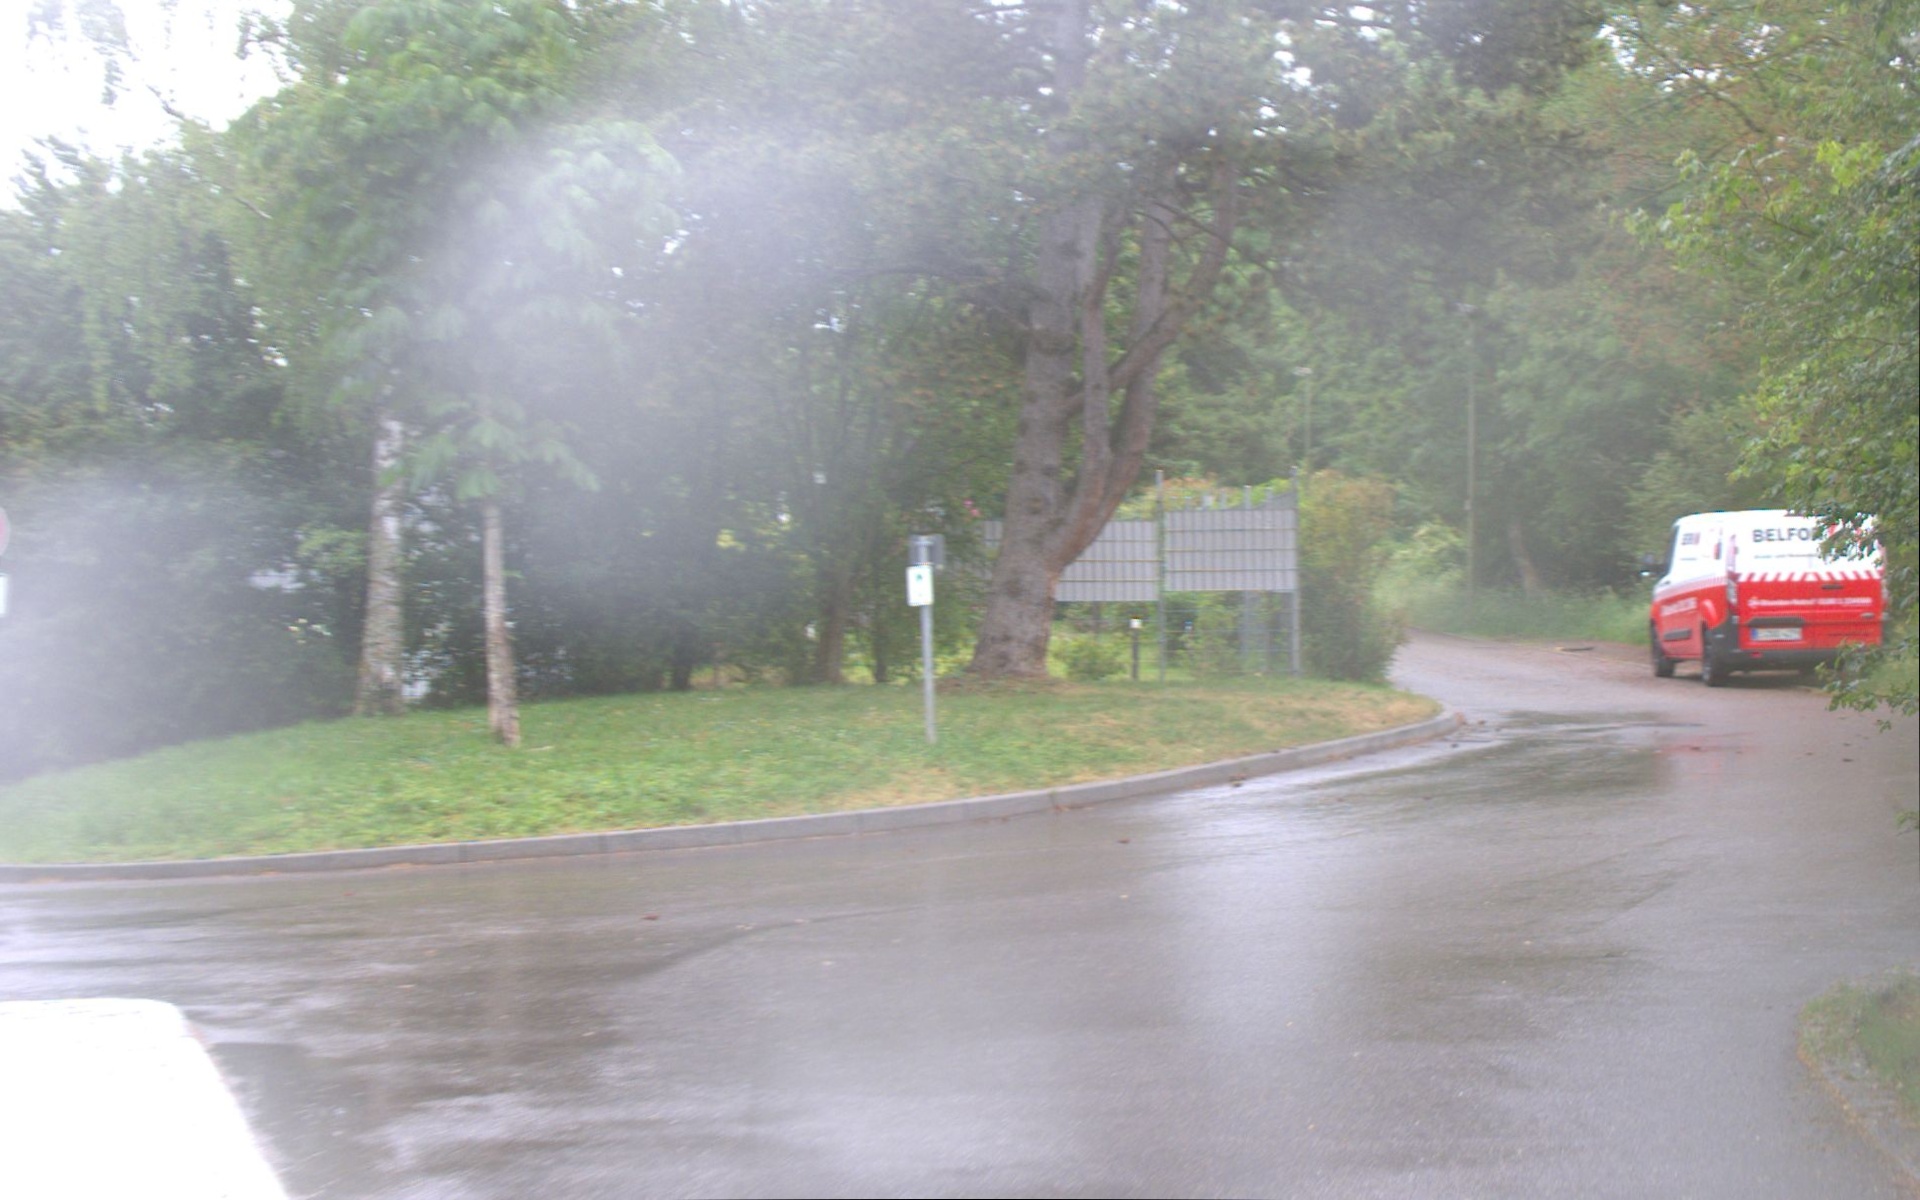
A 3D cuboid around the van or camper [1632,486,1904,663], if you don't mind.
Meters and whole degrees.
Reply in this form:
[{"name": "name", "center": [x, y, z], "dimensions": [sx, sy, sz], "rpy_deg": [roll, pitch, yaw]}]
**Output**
[{"name": "van or camper", "center": [9.124, -0.257, 39.191], "dimensions": [1.993, 1.875, 4.453], "rpy_deg": [-1, -1, -1]}]
